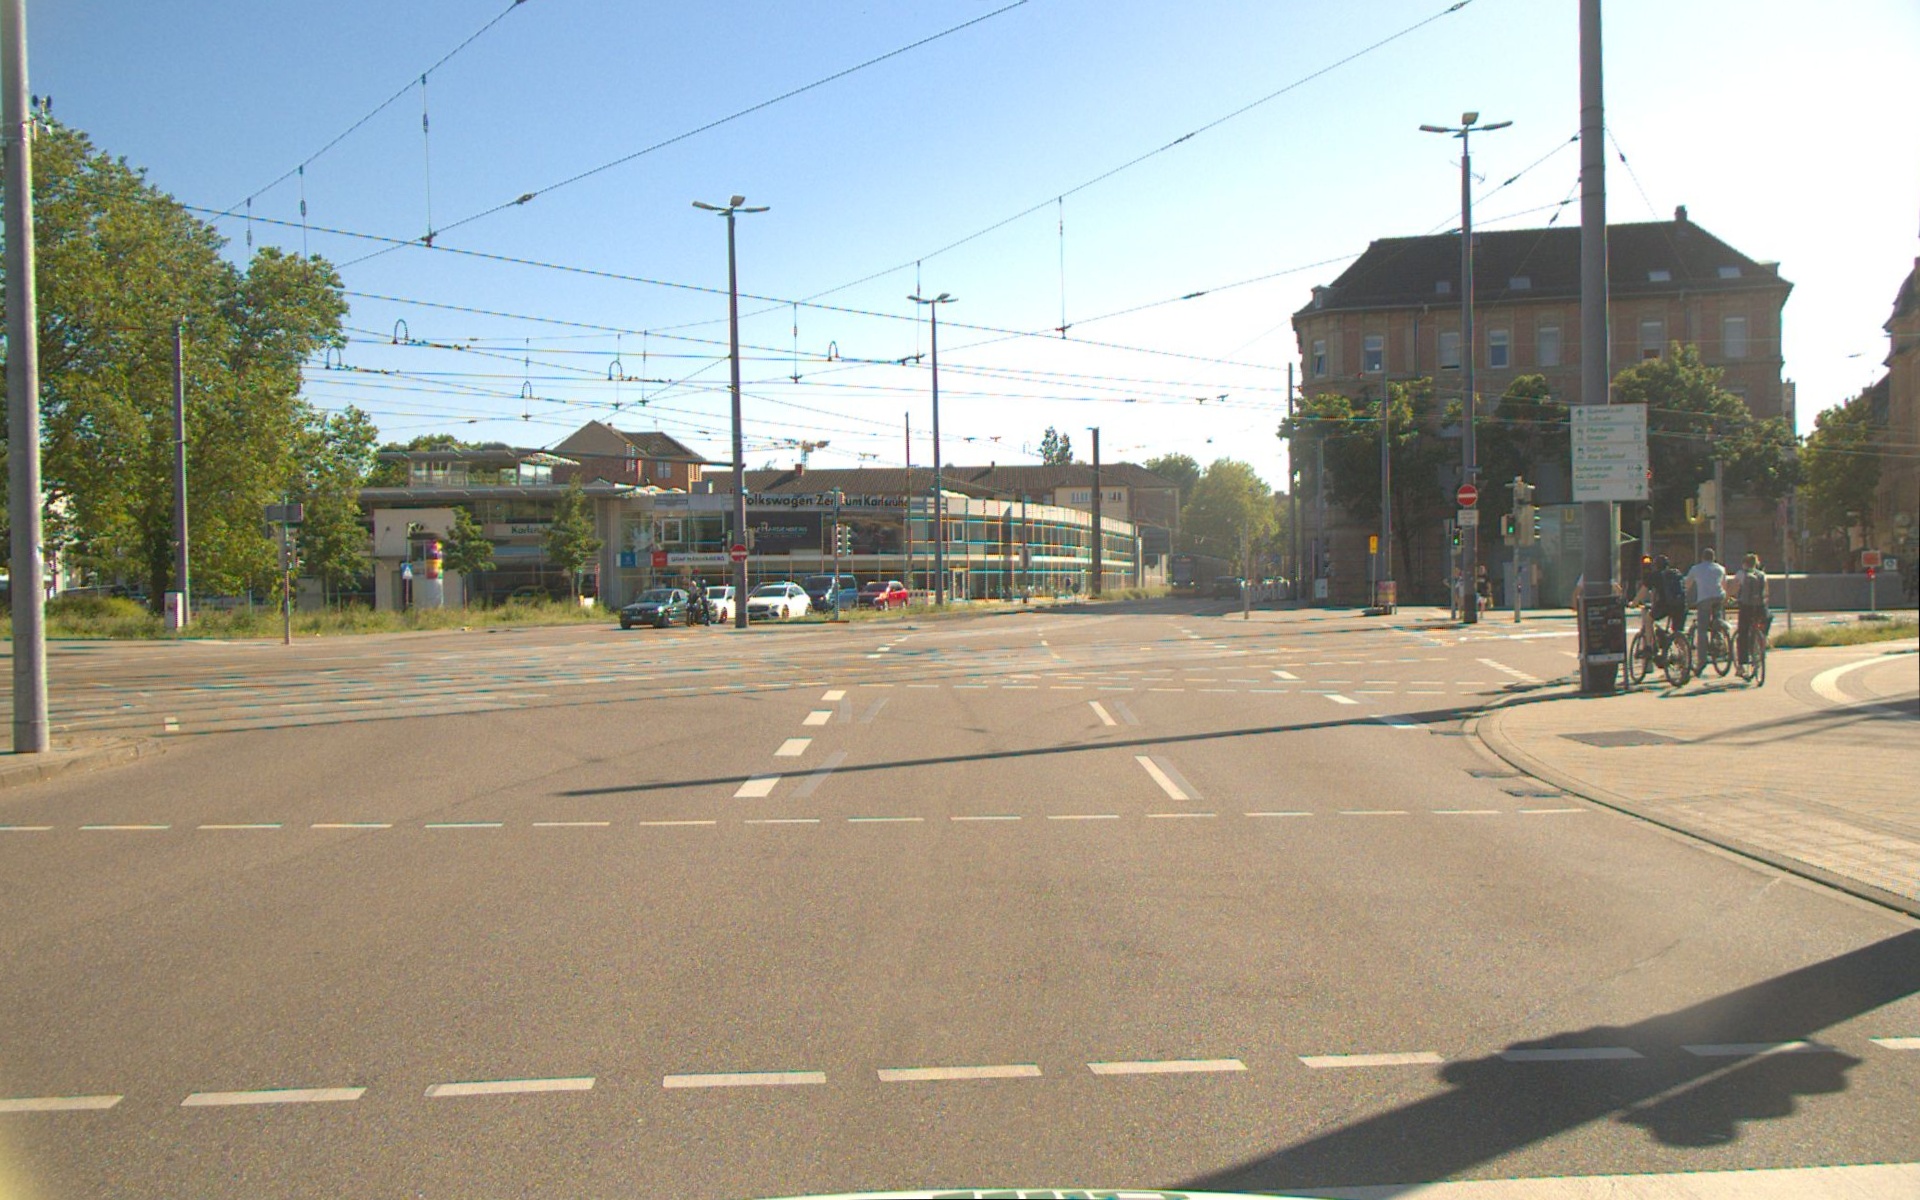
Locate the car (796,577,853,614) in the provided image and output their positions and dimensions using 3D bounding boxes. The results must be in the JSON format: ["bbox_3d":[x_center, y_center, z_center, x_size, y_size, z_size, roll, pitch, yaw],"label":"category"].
[{"bbox_3d":[-6.426,-0.242,78.857,1.591,1.722,3.689,-1,1,14],"label":"car"}]

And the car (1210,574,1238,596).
[{"bbox_3d":[19.533,-1.110,122.121,1.663,1.529,4.268,-1,1,14],"label":"car"}]

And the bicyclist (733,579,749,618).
[{"bbox_3d":[-9.954,-0.068,75.187,0.556,1.743,0.649,-1,0,9],"label":"bicyclist"}]

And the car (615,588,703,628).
[{"bbox_3d":[-11.012,0.259,60.697,1.667,1.378,3.703,-1,1,16],"label":"car"}]

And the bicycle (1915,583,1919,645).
[{"bbox_3d":[17.329,0.210,29.293,0.507,1.063,1.762,-3,0,35],"label":"bicycle"}]

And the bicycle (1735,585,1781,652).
[{"bbox_3d":[14.222,0.307,29.515,0.559,1.145,1.741,0,1,20],"label":"bicycle"}]

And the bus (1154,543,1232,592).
[{"bbox_3d":[20.163,-2.584,141.109,3.755,3.670,24.884,1,0,15],"label":"bus"}]

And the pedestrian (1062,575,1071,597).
[{"bbox_3d":[8.345,-1.100,129.739,0.531,1.718,0.630,-1,0,20],"label":"pedestrian"}]

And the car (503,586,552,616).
[{"bbox_3d":[-25.979,0.040,99.471,1.926,1.735,4.083,-1,1,-1],"label":"car"}]

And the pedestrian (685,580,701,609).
[{"bbox_3d":[-11.587,-0.234,71.733,0.414,1.225,0.681,-1,0,17],"label":"pedestrian"}]

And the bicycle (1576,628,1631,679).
[{"bbox_3d":[9.769,0.795,25.154,0.525,0.667,1.727,-4,0,14],"label":"bicycle"}]

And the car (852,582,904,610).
[{"bbox_3d":[-4.248,-0.207,86.018,1.591,1.388,3.688,-1,1,16],"label":"car"}]

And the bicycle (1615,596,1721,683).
[{"bbox_3d":[9.788,0.519,22.933,0.613,1.133,1.850,-2,0,-1],"label":"bicycle"}]

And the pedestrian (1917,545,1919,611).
[{"bbox_3d":[17.352,-0.277,29.343,0.507,1.426,0.958,-3,0,36],"label":"pedestrian"}]

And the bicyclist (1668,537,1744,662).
[{"bbox_3d":[11.128,-0.019,24.695,0.731,1.809,0.925,-2,0,6],"label":"bicyclist"}]

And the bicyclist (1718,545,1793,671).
[{"bbox_3d":[10.699,0.103,22.263,0.670,1.626,0.978,-3,0,16],"label":"bicyclist"}]

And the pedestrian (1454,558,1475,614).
[{"bbox_3d":[18.465,-0.518,60.504,0.564,2.049,0.449,-1,1,-19],"label":"pedestrian"}]

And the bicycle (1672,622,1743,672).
[{"bbox_3d":[11.162,0.690,24.745,0.525,0.667,1.469,-2,1,6],"label":"bicycle"}]

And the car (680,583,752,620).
[{"bbox_3d":[-9.789,0.042,66.671,1.591,1.448,3.689,-1,1,14],"label":"car"}]

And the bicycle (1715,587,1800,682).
[{"bbox_3d":[10.714,0.443,22.276,0.670,1.184,1.885,-3,0,16],"label":"bicycle"}]

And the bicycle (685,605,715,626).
[{"bbox_3d":[-9.442,0.550,60.089,0.413,0.730,1.636,-1,1,16],"label":"bicycle"}]

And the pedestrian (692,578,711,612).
[{"bbox_3d":[-9.411,-0.203,60.256,0.413,1.225,0.750,-1,0,16],"label":"pedestrian"}]

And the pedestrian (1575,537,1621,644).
[{"bbox_3d":[9.701,-0.141,25.173,0.536,1.590,0.859,-1,0,14],"label":"pedestrian"}]

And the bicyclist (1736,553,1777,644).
[{"bbox_3d":[14.242,-0.027,29.581,0.559,1.596,0.947,0,1,20],"label":"bicyclist"}]

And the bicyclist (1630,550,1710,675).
[{"bbox_3d":[9.781,0.159,22.801,0.613,1.666,0.995,-2,0,-1],"label":"bicyclist"}]

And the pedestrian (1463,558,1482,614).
[{"bbox_3d":[18.886,-0.512,60.976,0.453,2.049,0.449,-1,1,-18],"label":"pedestrian"}]

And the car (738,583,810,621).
[{"bbox_3d":[-7.236,0.069,64.828,1.591,1.406,3.741,-1,1,14],"label":"car"}]
